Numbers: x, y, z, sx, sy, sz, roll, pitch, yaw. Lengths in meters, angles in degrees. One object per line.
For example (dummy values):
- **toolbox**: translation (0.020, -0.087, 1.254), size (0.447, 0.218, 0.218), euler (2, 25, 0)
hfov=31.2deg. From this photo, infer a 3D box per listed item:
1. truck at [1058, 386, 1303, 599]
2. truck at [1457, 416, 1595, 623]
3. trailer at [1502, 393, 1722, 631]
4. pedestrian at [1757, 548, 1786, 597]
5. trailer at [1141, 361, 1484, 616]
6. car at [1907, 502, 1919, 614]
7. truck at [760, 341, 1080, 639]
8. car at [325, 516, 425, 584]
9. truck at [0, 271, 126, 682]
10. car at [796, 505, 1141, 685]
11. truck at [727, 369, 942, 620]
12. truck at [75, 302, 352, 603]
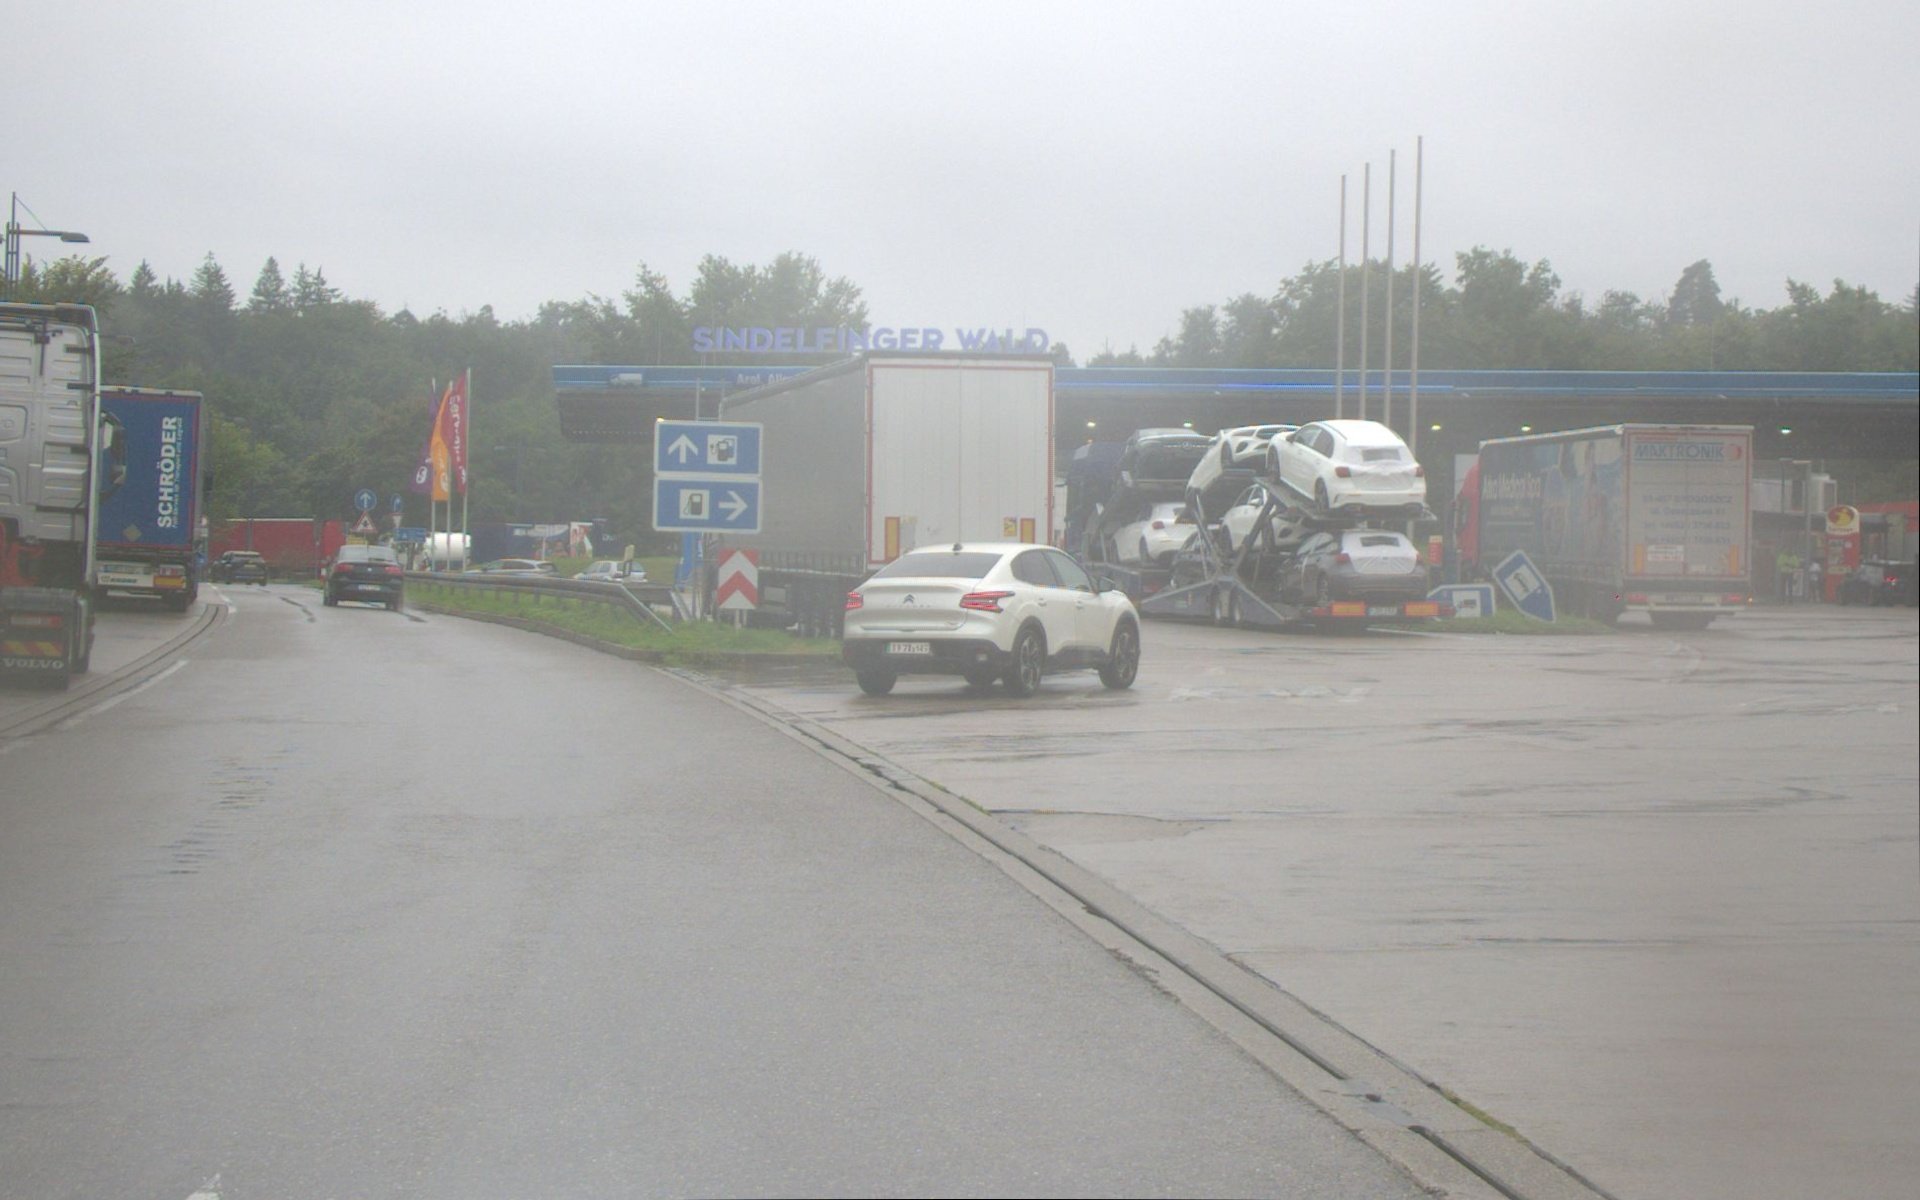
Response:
- **truck**: translation (4.544, -2.266, 73.138), size (3.233, 4.174, 8.446), euler (2, 1, -10)
- **truck**: translation (12.881, -1.815, 78.501), size (1.988, 4.534, 4.796), euler (1, 0, -4)
- **trailer**: translation (13.351, -1.753, 71.206), size (1.993, 4.543, 9.811), euler (1, 1, -4)
- **pedestrian**: translation (25.984, -0.878, 110.067), size (0.719, 1.516, 0.742), euler (3, -1, 22)
- **trailer**: translation (6.216, -2.010, 63.317), size (3.215, 4.174, 11.533), euler (2, 1, -10)
- **car**: translation (18.398, -0.733, 60.843), size (1.993, 2.007, 4.000), euler (4, -1, -1)
- **truck**: translation (-0.861, -1.566, 50.814), size (2.370, 3.861, 12.459), euler (0, 1, -12)
- **car**: translation (-13.451, -1.149, 79.246), size (1.878, 1.456, 4.001), euler (2, 0, -5)
- **truck**: translation (-10.276, -1.242, 35.534), size (2.914, 3.891, 6.318), euler (1, 1, -11)
- **car**: translation (0.156, -0.072, 34.432), size (1.996, 1.673, 3.995), euler (1, 1, 24)
- **truck**: translation (-2.164, -1.711, 56.615), size (2.370, 3.861, 7.014), euler (0, 1, -12)
- **truck**: translation (-14.646, -2.766, 67.127), size (4.790, 5.287, 11.074), euler (1, 1, -13)
